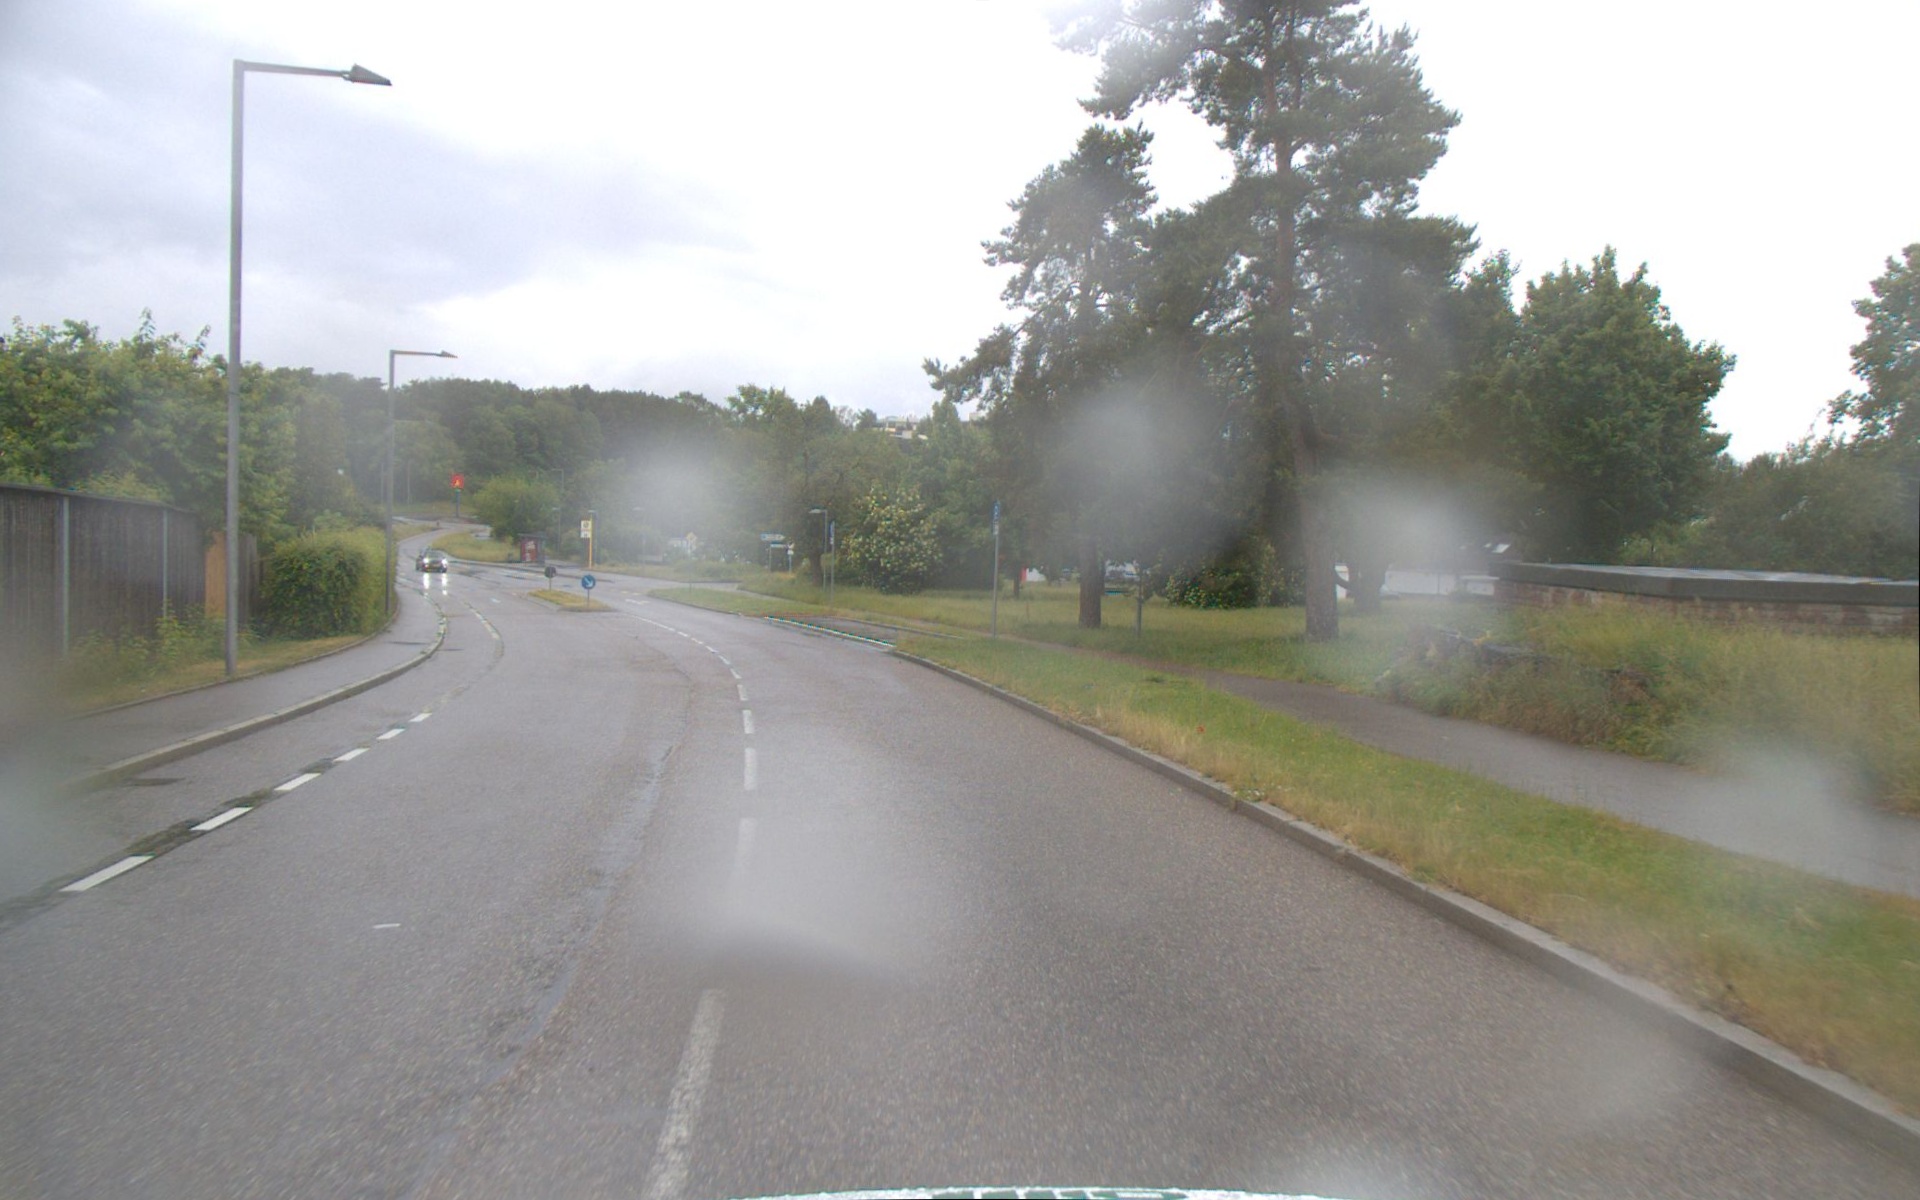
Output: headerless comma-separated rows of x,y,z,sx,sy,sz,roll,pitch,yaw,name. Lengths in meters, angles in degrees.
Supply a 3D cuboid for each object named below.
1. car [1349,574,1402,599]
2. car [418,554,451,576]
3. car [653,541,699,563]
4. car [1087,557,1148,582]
26.404,-0.837,105.236,1.935,1.489,3.994,-3,1,-7,car
-37.345,-2.507,117.512,1.440,1.379,3.497,2,1,-31,car
-24.162,-4.065,140.652,3.343,1.720,1.999,0,-2,23,car
12.461,-2.425,130.672,4.468,1.780,1.905,-1,0,37,car
